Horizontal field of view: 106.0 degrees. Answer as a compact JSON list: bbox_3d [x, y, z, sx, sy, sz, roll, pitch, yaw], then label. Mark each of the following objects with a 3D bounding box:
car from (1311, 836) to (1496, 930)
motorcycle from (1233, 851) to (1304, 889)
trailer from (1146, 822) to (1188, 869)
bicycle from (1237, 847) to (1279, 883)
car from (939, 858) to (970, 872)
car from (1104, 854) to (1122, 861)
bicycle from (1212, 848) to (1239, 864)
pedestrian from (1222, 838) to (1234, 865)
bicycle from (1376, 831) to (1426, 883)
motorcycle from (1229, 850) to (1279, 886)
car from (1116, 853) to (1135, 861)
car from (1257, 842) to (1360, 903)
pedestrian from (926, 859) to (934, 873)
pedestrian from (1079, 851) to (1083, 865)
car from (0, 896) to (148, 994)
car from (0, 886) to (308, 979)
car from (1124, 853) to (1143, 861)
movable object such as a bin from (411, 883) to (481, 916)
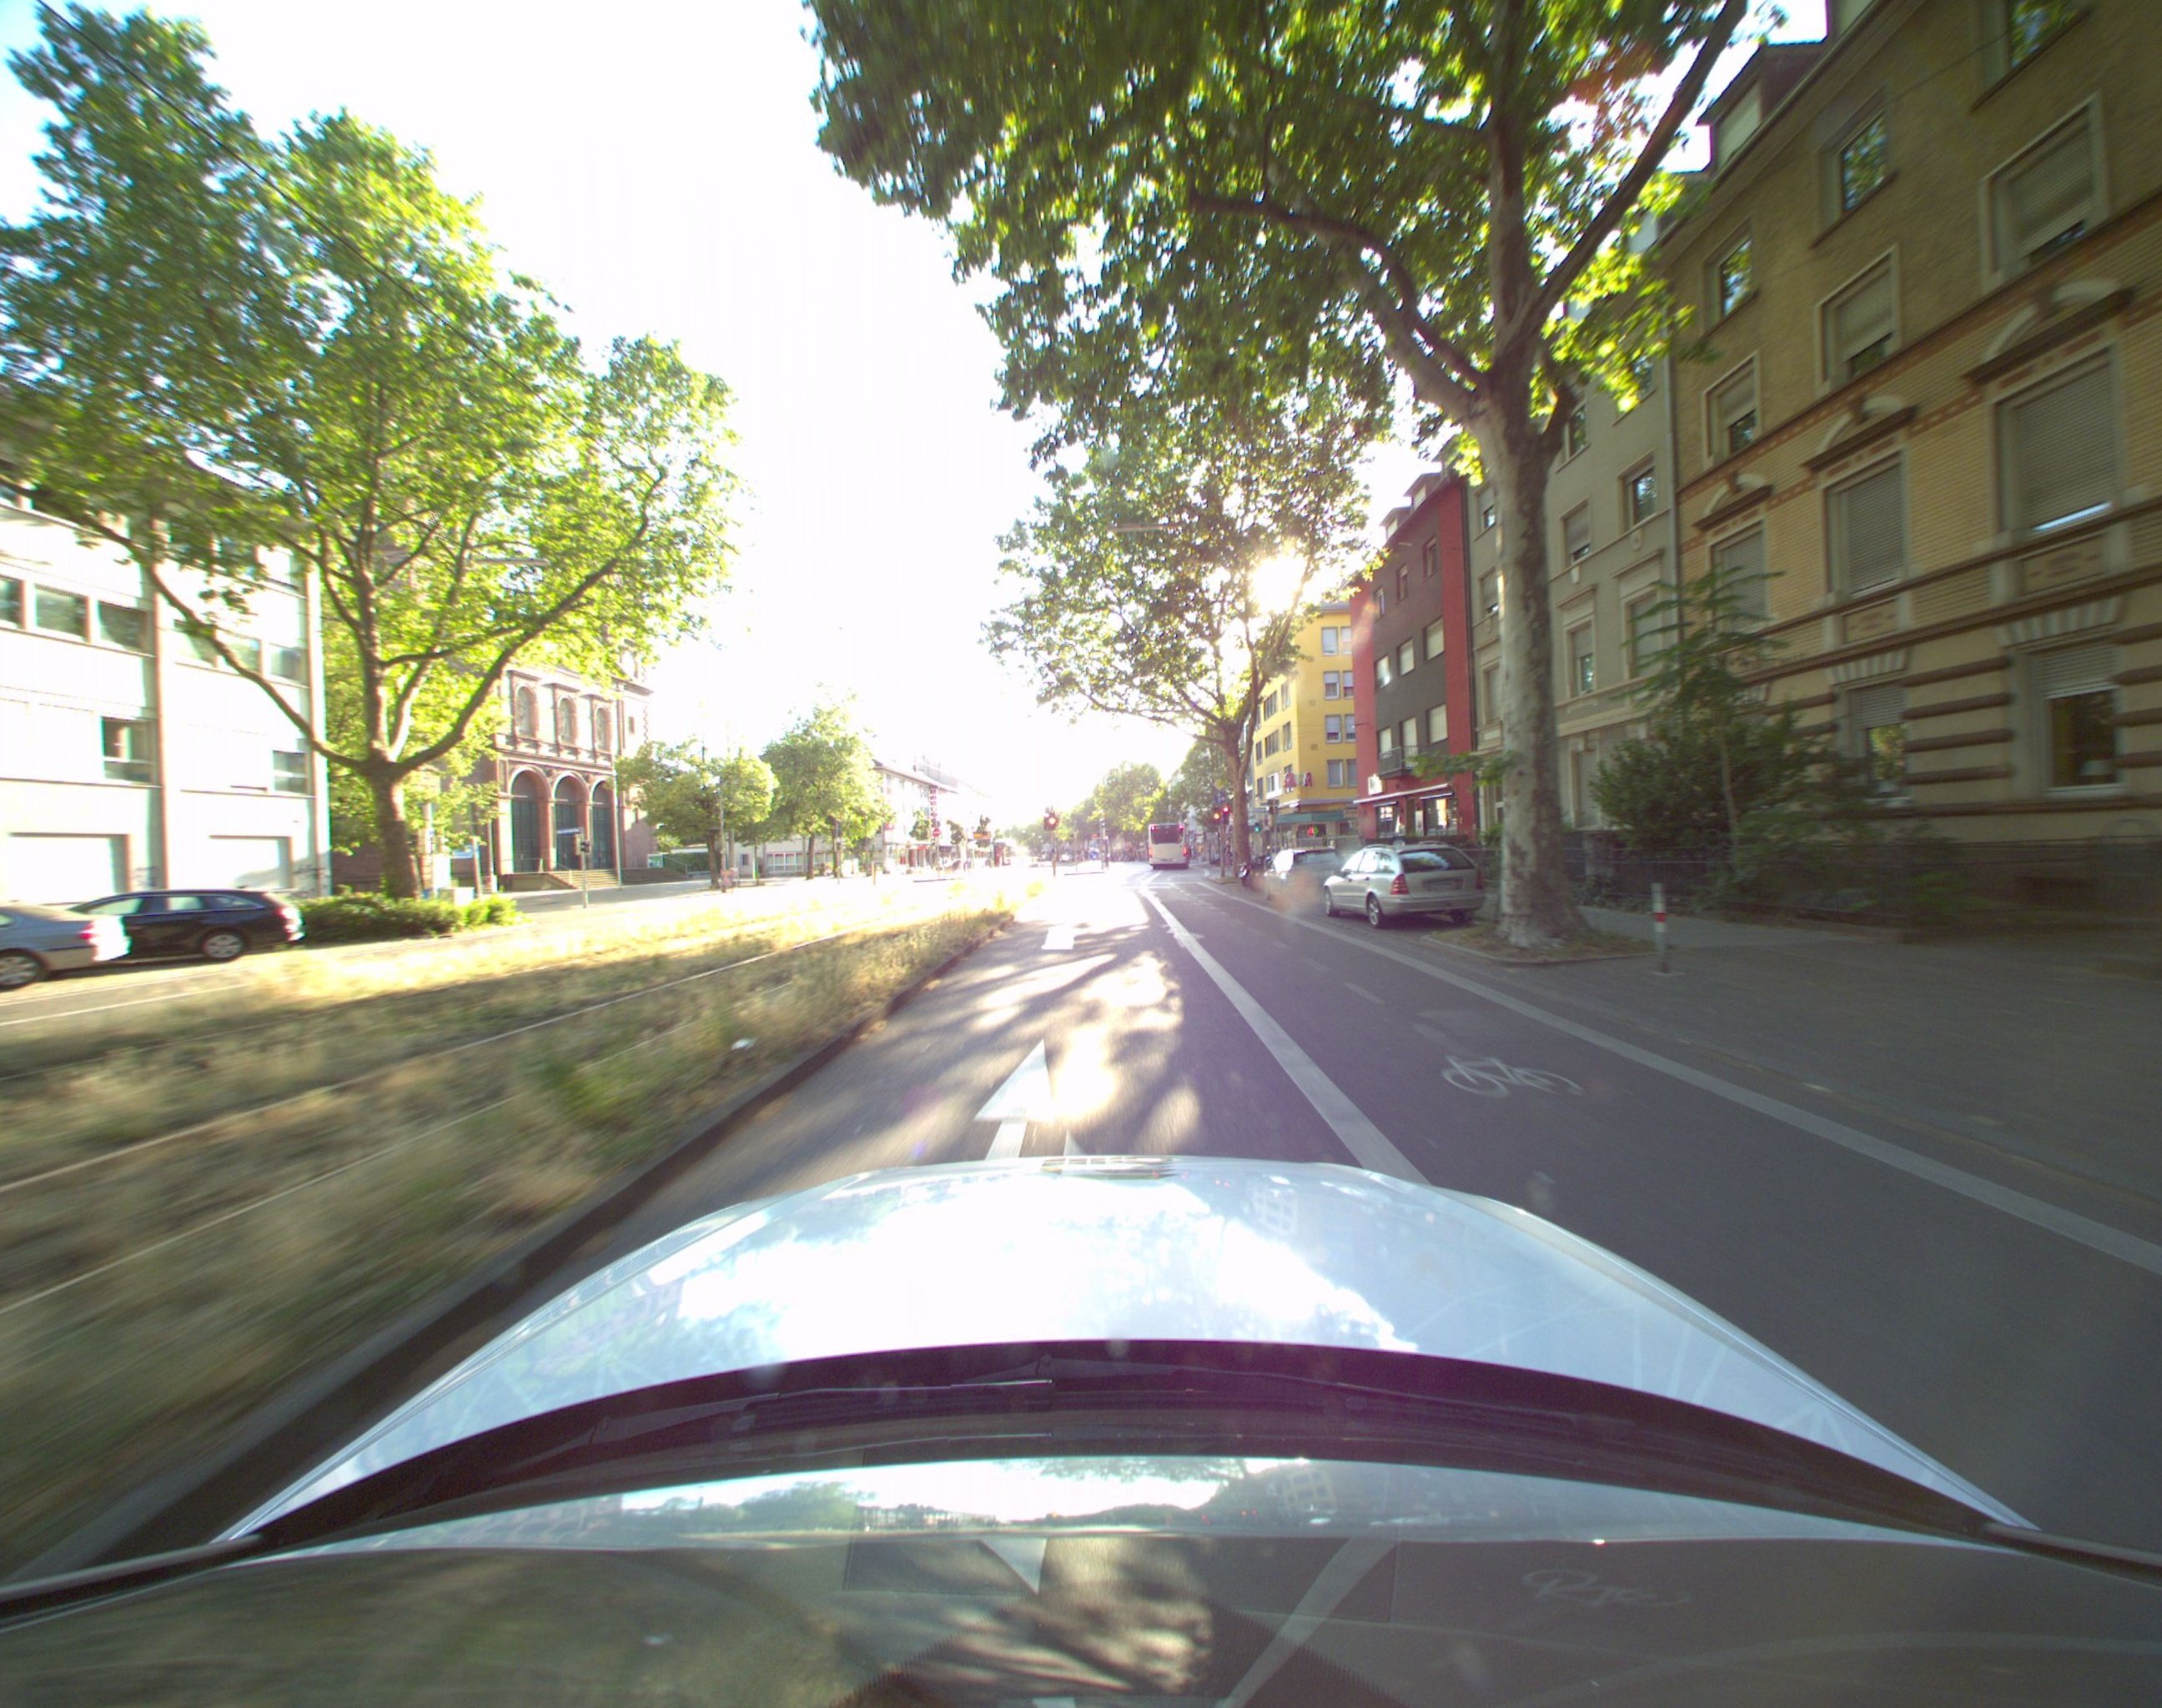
[{"bbox_3d":[5.871,0.456,15.480,1.668,1.451,4.571,-3,0,0],"label":"car"},{"bbox_3d":[6.245,0.524,27.092,2.214,1.063,0.762,-5,1,-20],"label":"motorcycle"},{"bbox_3d":[6.229,-0.565,58.530,2.797,3.110,8.811,0,0,7],"label":"trailer"},{"bbox_3d":[6.666,0.401,30.637,0.687,1.203,1.859,0,4,41],"label":"bicycle"},{"bbox_3d":[-18.387,1.591,118.220,4.006,1.815,1.984,-3,0,-24],"label":"car"},{"bbox_3d":[7.547,0.865,194.038,3.911,1.596,1.677,-3,0,-26],"label":"car"},{"bbox_3d":[10.394,0.155,58.457,1.766,1.021,0.695,-4,0,2],"label":"bicycle"},{"bbox_3d":[9.910,-0.189,54.824,0.677,1.770,0.687,-3,0,3],"label":"pedestrian"},{"bbox_3d":[9.197,0.081,23.508,0.604,1.426,2.398,0,0,3],"label":"bicycle"},{"bbox_3d":[6.240,0.493,29.270,2.009,1.152,0.594,-3,0,-40],"label":"motorcycle"},{"bbox_3d":[10.408,0.668,189.344,3.911,1.699,1.817,-3,0,-26],"label":"car"},{"bbox_3d":[5.932,0.432,21.750,1.703,1.396,4.325,-3,0,3],"label":"car"},{"bbox_3d":[-21.566,1.675,116.353,0.704,2.014,0.951,-2,0,9],"label":"pedestrian"},{"bbox_3d":[-0.008,0.255,51.081,0.290,0.875,0.344,0,0,-1],"label":"pedestrian"},{"bbox_3d":[-18.444,1.525,13.257,4.020,1.441,1.702,-1,0,-39],"label":"car"},{"bbox_3d":[-18.384,1.469,16.375,4.021,1.479,1.796,-1,0,-41],"label":"car"},{"bbox_3d":[11.994,0.658,186.145,3.911,1.699,1.817,-3,0,-26],"label":"car"},{"bbox_3d":[-28.680,2.037,36.855,1.103,1.211,2.448,0,4,3],"label":"movable object such as a bin"}]
